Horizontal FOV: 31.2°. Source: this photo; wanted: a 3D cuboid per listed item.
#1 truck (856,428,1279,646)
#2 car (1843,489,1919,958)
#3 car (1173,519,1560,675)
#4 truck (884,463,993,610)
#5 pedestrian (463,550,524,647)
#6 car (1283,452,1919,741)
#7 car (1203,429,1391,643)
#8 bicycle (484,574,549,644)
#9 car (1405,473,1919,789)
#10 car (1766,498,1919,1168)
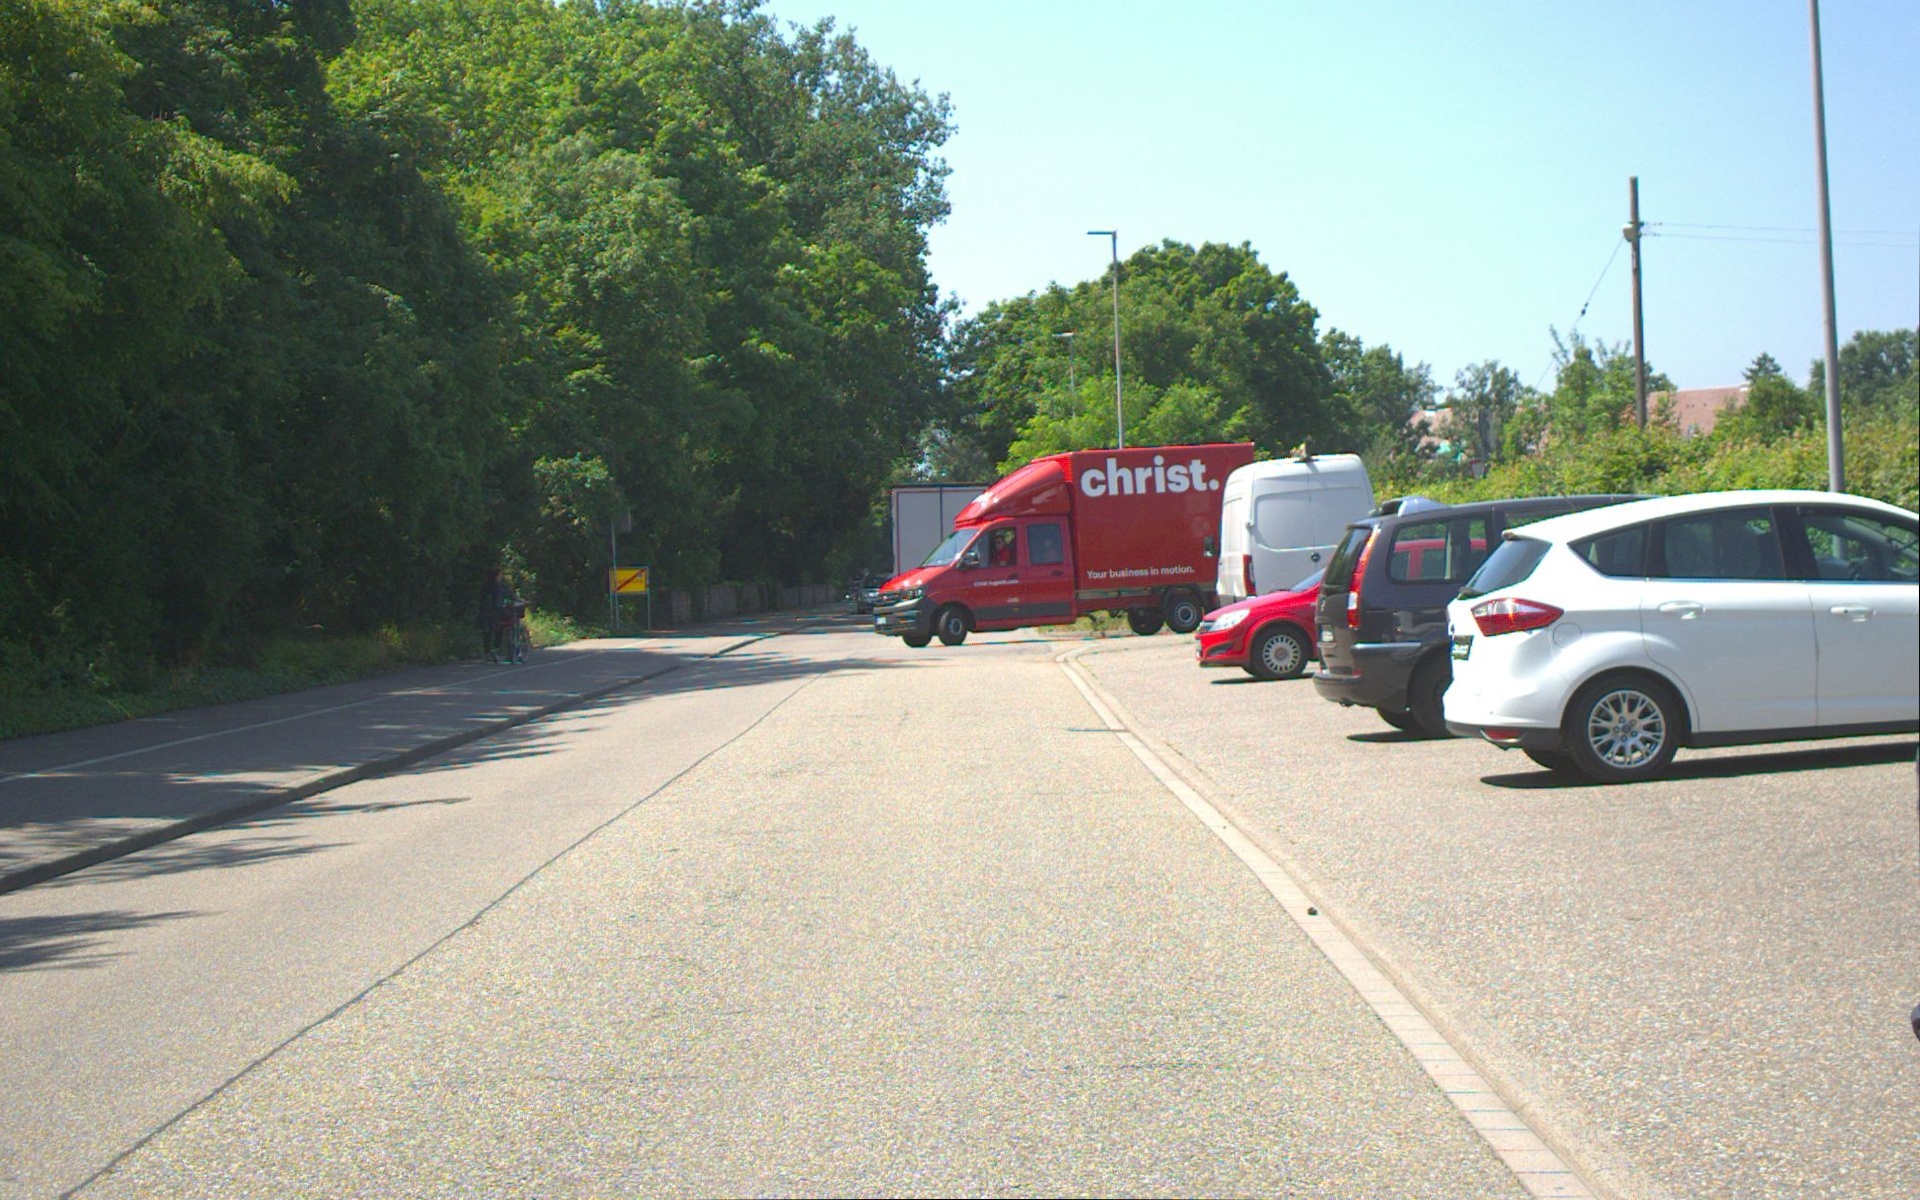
[{"bbox_3d":[1.958,-1.193,62.725,7.135,3.428,2.331,-4,3,-16],"label":"truck"},{"bbox_3d":[4.726,0.293,10.924,3.388,1.498,1.588,-4,1,3],"label":"car"},{"bbox_3d":[4.602,-0.049,39.308,4.053,1.429,1.836,-4,1,-3],"label":"car"},{"bbox_3d":[-0.489,-1.713,95.494,2.733,3.733,13.245,-1,1,1],"label":"truck"},{"bbox_3d":[-8.364,-0.025,61.643,0.809,1.712,0.776,-1,1,16],"label":"pedestrian"},{"bbox_3d":[4.910,-0.032,26.443,4.452,1.798,1.953,-4,0,-4],"label":"car"},{"bbox_3d":[4.783,-0.927,49.812,1.954,2.724,7.167,-4,1,1],"label":"car"},{"bbox_3d":[-7.953,0.155,61.738,0.521,1.232,1.960,0,0,12],"label":"bicycle"},{"bbox_3d":[4.943,0.098,20.239,4.276,1.572,1.766,-4,1,-2],"label":"car"},{"bbox_3d":[4.121,0.357,7.787,3.962,1.517,1.864,-6,1,-5],"label":"car"}]
